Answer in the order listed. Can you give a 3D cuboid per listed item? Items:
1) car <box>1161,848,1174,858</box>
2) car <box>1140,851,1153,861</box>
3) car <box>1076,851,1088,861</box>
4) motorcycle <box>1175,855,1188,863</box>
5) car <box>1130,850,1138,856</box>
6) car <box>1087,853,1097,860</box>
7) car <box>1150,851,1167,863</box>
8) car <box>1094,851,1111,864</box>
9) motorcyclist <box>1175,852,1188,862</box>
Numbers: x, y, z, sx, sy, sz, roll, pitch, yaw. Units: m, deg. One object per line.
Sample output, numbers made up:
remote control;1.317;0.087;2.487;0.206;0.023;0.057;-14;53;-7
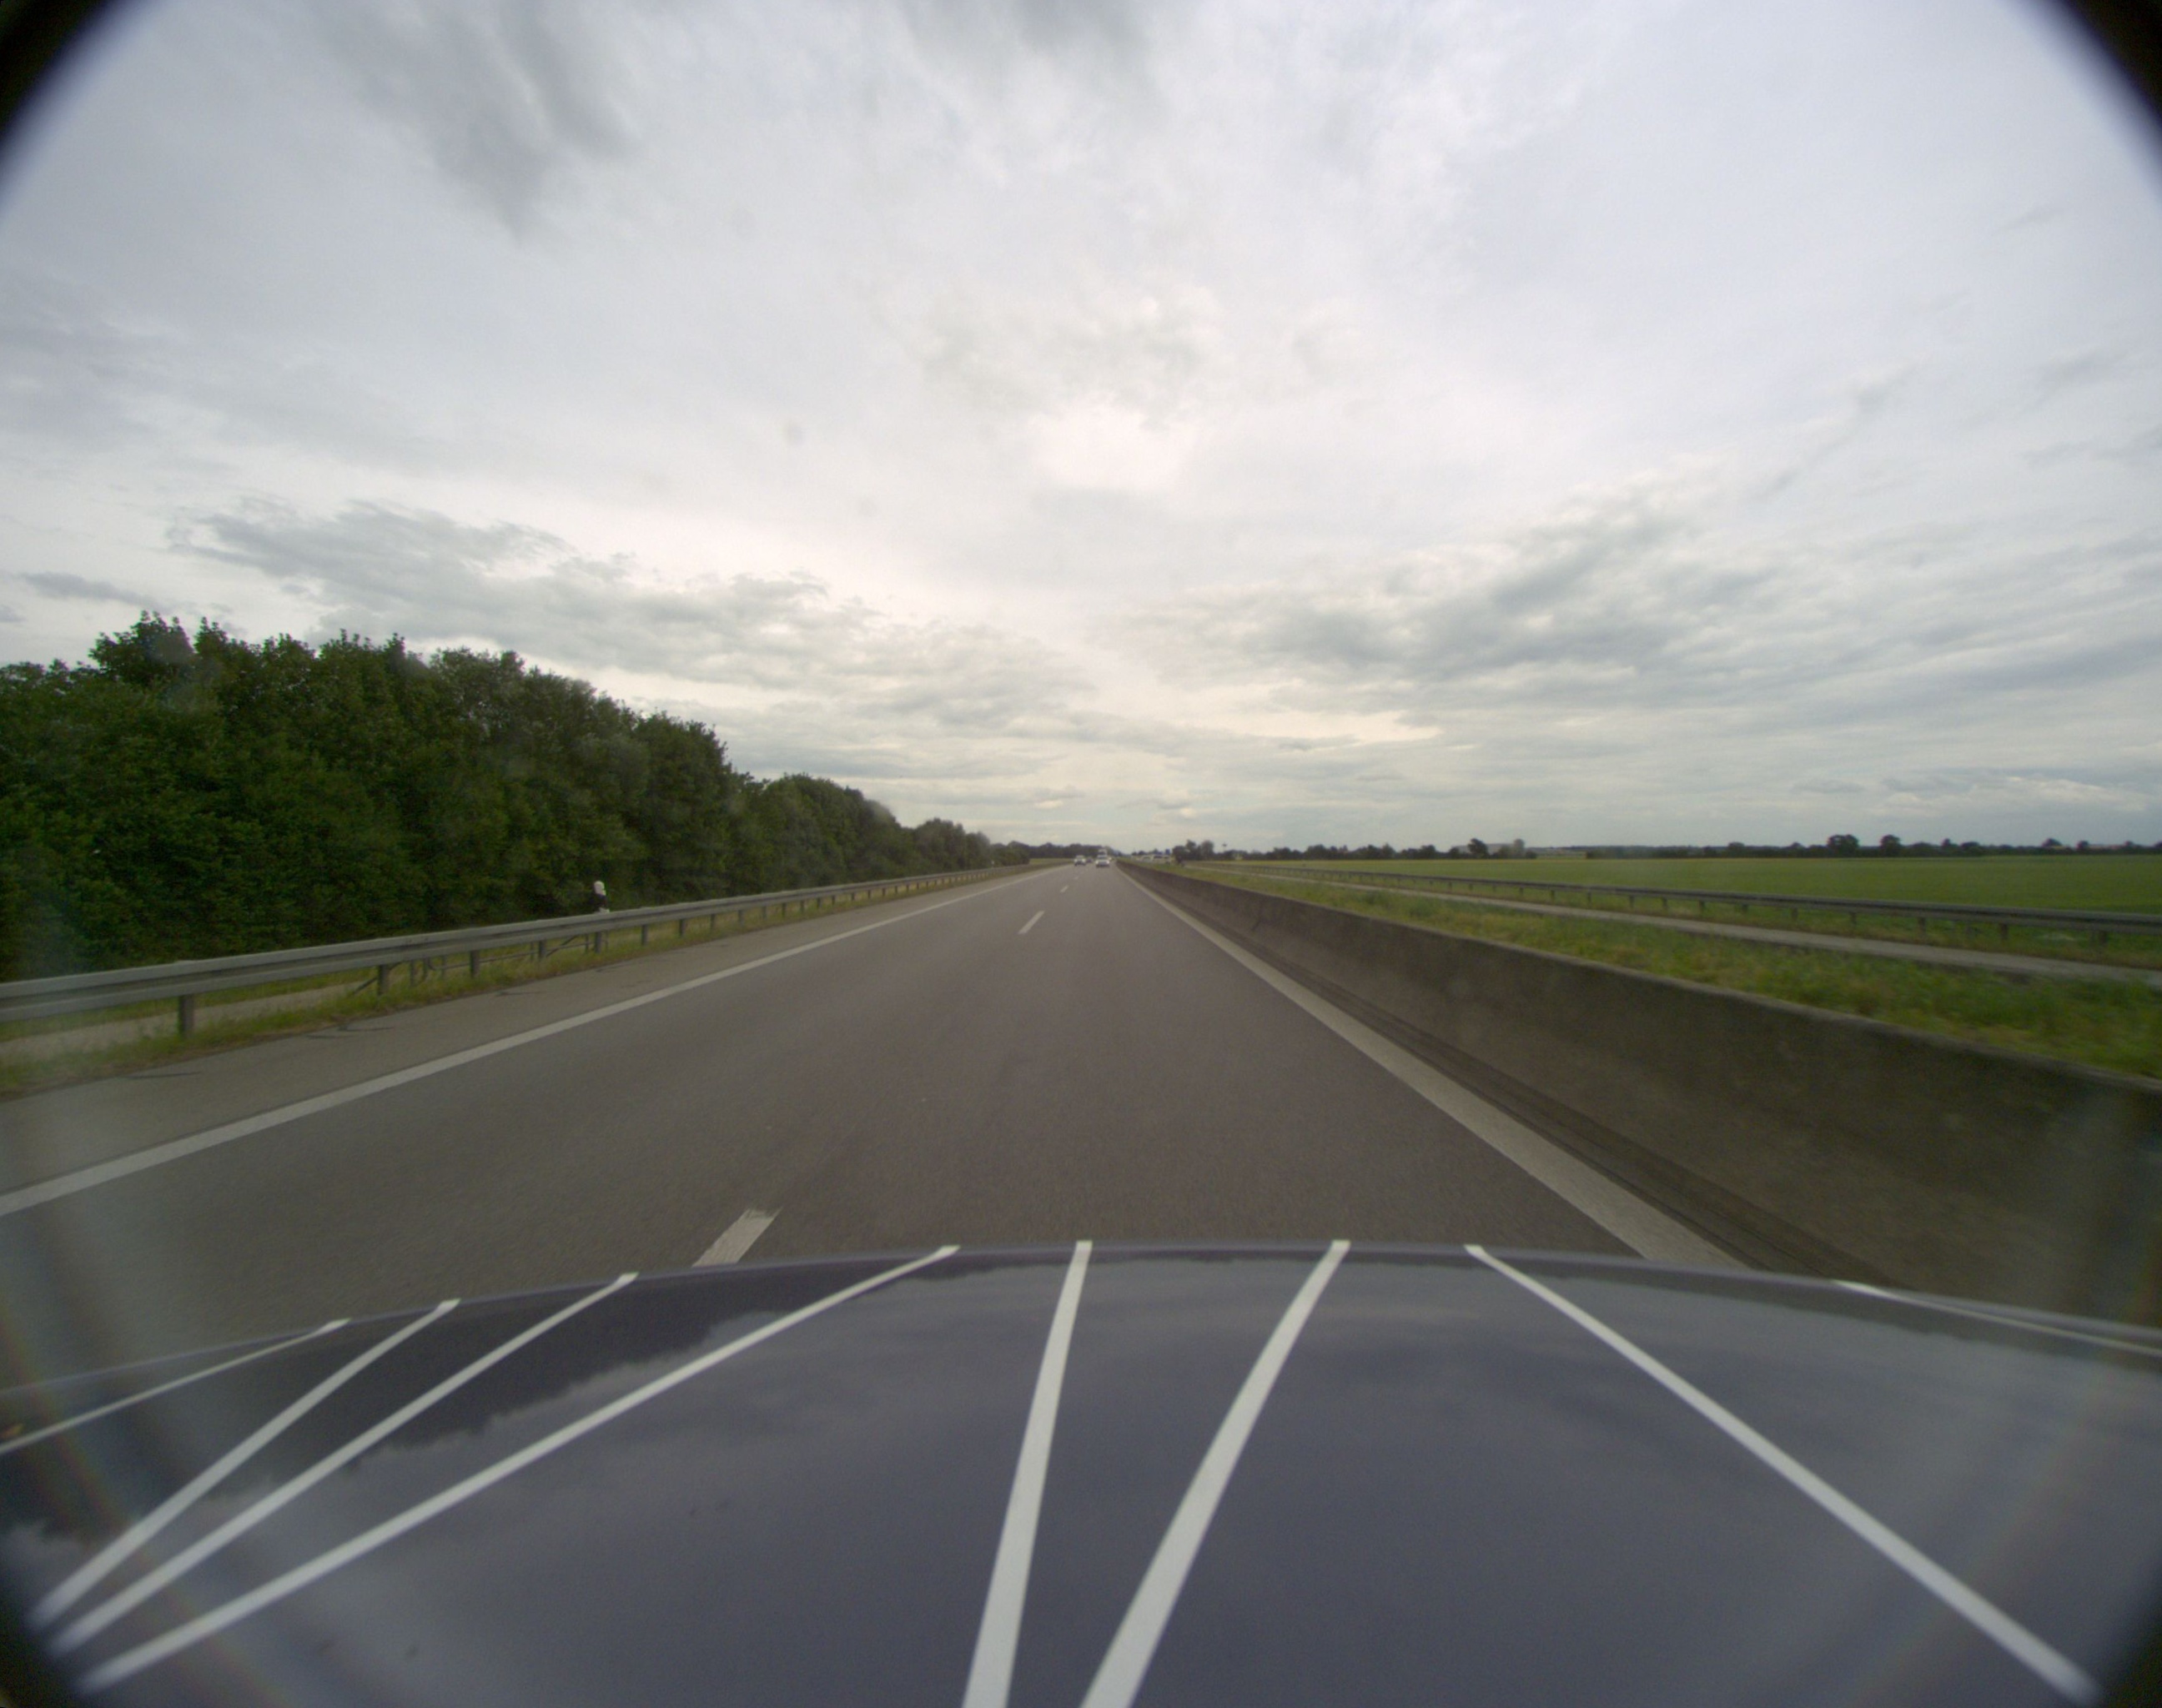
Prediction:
car;15.214;-0.159;133.744;1.840;1.617;4.691;1;1;1
car;10.974;0.276;127.198;1.870;1.565;4.693;0;0;0
car;0.188;0.320;129.757;1.915;1.553;4.288;-1;1;2
motorcycle;14.020;0.738;106.168;1.570;1.072;2.982;1;1;1
car;14.634;-0.294;210.154;1.952;1.684;5.174;1;1;1
car;2.529;0.624;173.728;1.915;1.553;4.288;-1;1;2
car;10.354;0.343;101.868;1.870;1.565;4.693;0;0;0
car;2.910;0.463;102.950;1.916;1.553;4.287;-1;1;-2
motorcyclist;14.024;0.419;106.145;1.570;1.363;1.252;1;1;1
